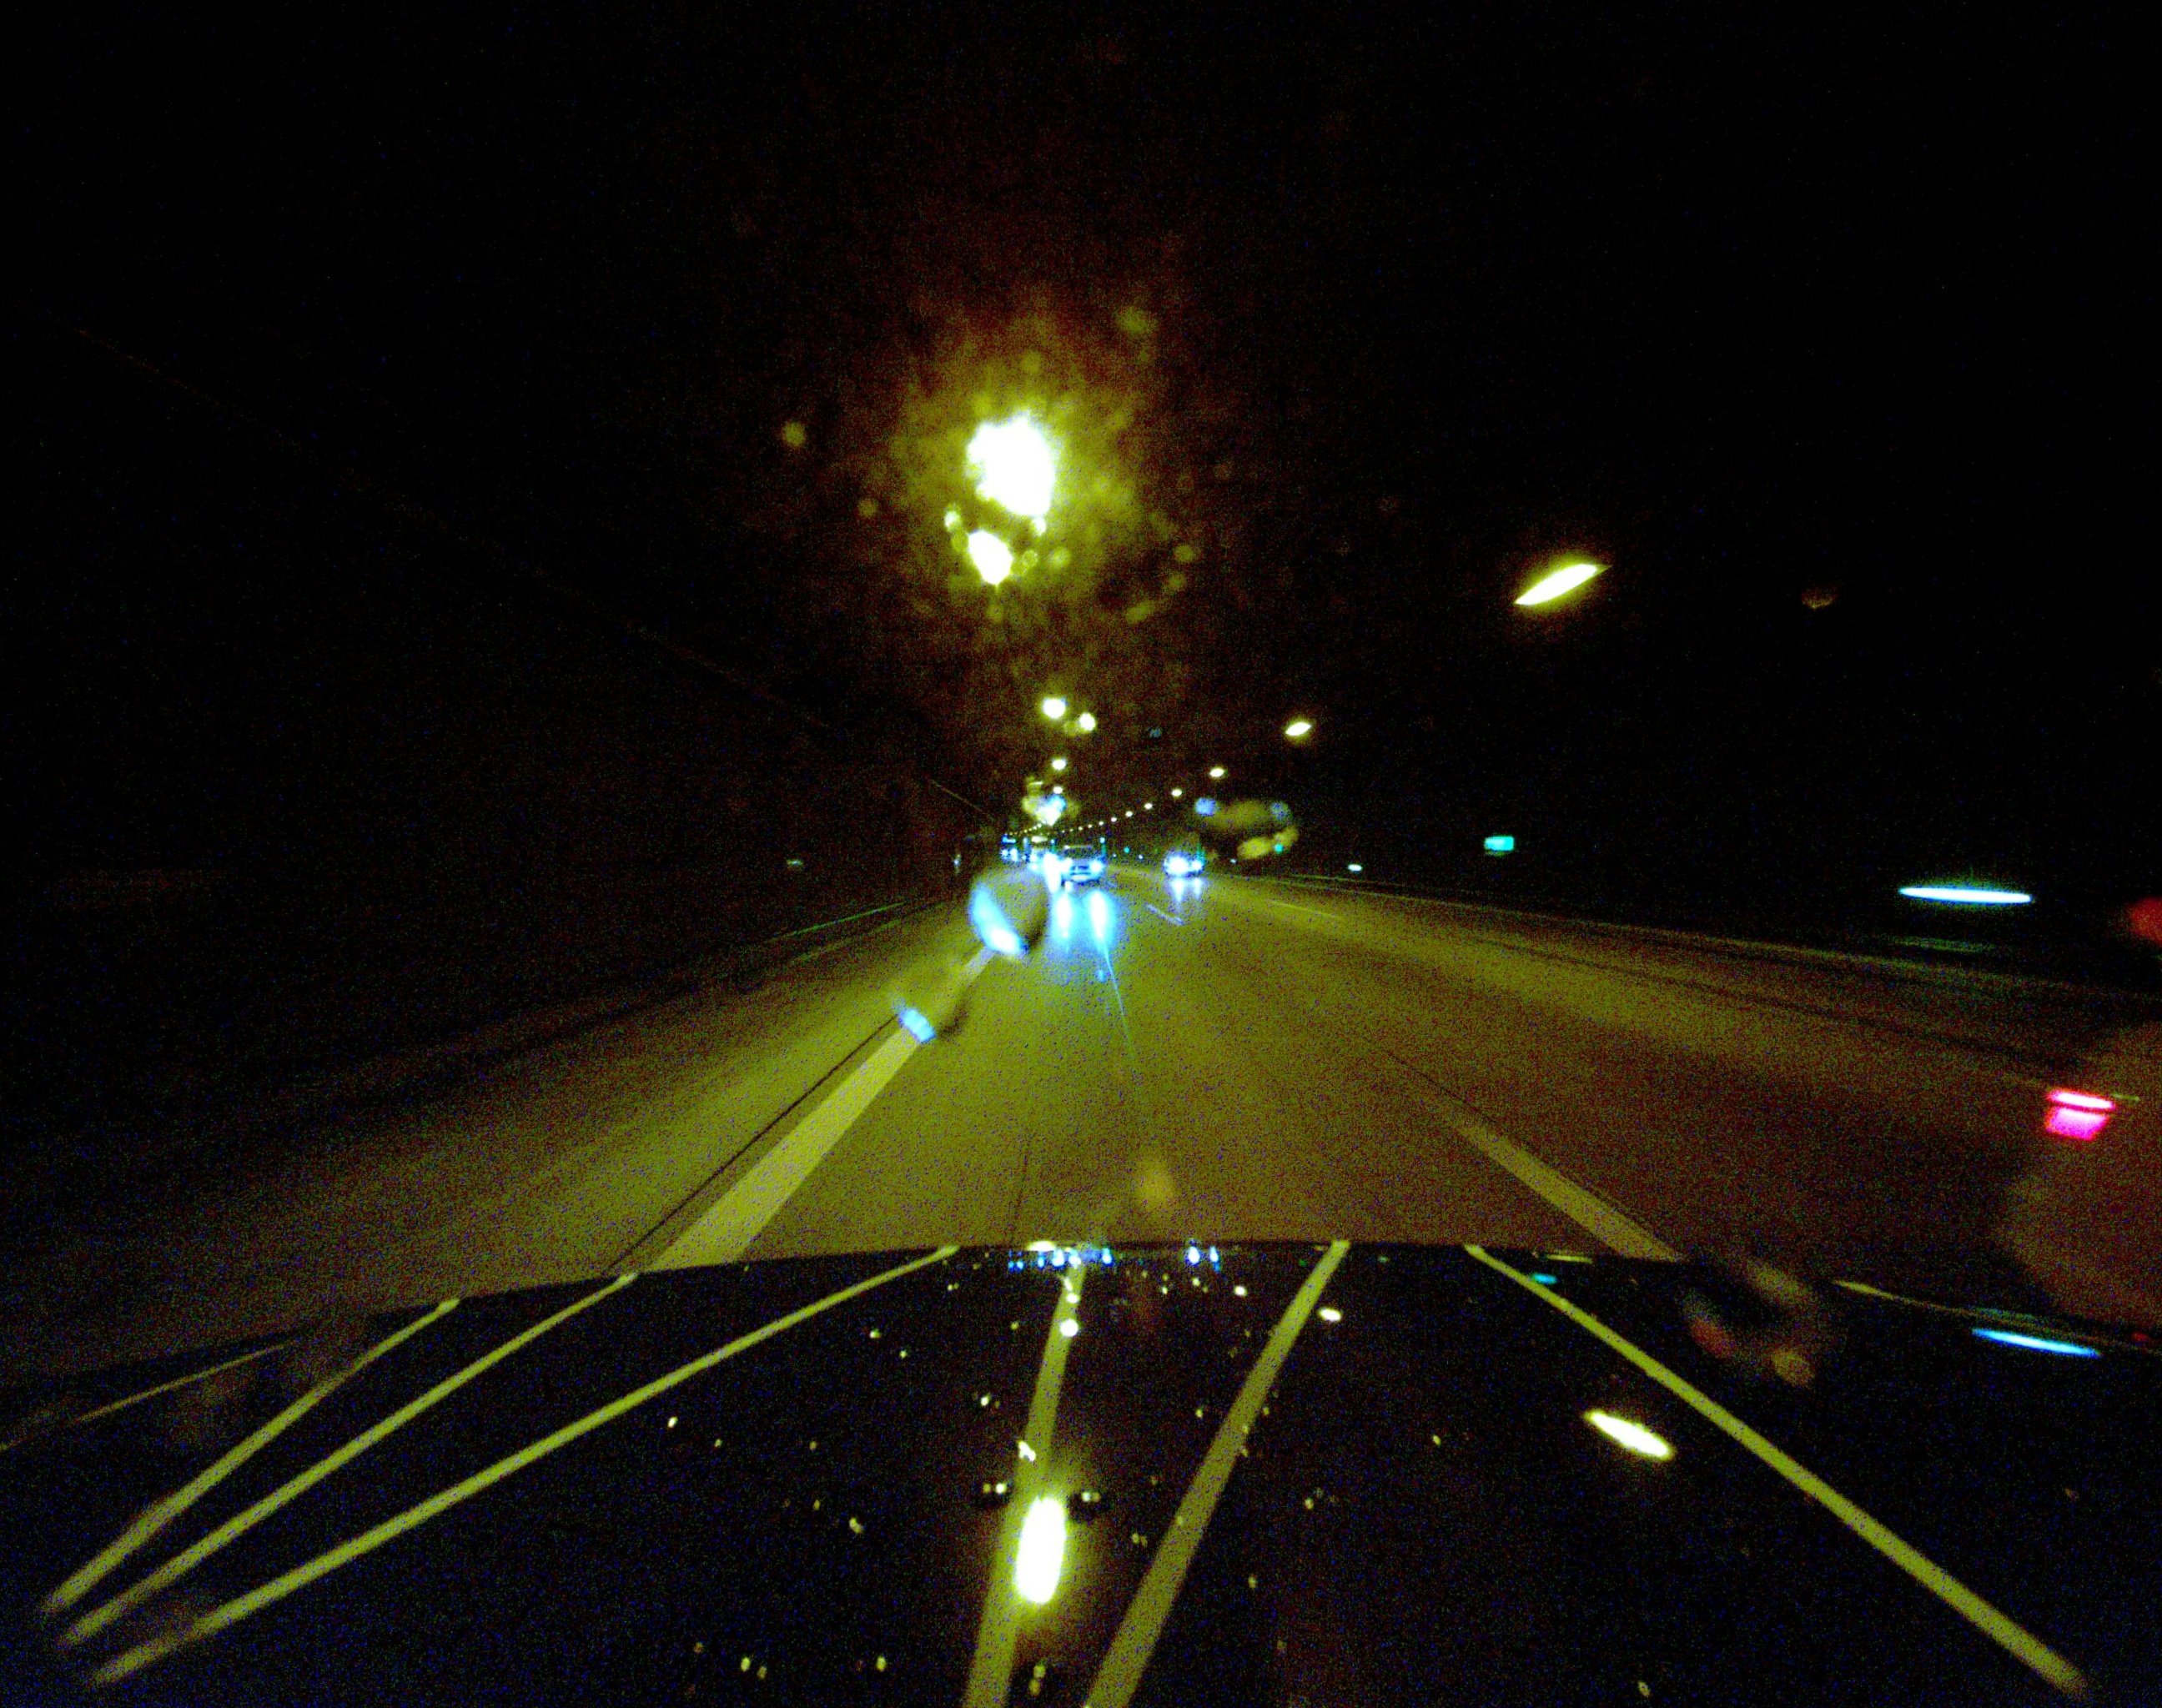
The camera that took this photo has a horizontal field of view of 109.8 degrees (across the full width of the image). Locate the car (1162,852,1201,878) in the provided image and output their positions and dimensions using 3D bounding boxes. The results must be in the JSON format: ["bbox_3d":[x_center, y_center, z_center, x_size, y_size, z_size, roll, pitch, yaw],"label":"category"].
[{"bbox_3d":[5.935,0.624,45.272,1.739,1.447,3.999,-1,0,-1],"label":"car"}]

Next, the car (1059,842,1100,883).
[{"bbox_3d":[-0.155,0.424,40.445,1.999,2.002,4.359,-1,1,-2],"label":"car"}]

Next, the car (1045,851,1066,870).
[{"bbox_3d":[-2.326,0.541,67.987,1.759,1.567,3.998,-1,0,-3],"label":"car"}]

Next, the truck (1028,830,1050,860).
[{"bbox_3d":[-6.238,-1.413,112.751,3.143,4.137,7.381,-1,3,-4],"label":"truck"}]
